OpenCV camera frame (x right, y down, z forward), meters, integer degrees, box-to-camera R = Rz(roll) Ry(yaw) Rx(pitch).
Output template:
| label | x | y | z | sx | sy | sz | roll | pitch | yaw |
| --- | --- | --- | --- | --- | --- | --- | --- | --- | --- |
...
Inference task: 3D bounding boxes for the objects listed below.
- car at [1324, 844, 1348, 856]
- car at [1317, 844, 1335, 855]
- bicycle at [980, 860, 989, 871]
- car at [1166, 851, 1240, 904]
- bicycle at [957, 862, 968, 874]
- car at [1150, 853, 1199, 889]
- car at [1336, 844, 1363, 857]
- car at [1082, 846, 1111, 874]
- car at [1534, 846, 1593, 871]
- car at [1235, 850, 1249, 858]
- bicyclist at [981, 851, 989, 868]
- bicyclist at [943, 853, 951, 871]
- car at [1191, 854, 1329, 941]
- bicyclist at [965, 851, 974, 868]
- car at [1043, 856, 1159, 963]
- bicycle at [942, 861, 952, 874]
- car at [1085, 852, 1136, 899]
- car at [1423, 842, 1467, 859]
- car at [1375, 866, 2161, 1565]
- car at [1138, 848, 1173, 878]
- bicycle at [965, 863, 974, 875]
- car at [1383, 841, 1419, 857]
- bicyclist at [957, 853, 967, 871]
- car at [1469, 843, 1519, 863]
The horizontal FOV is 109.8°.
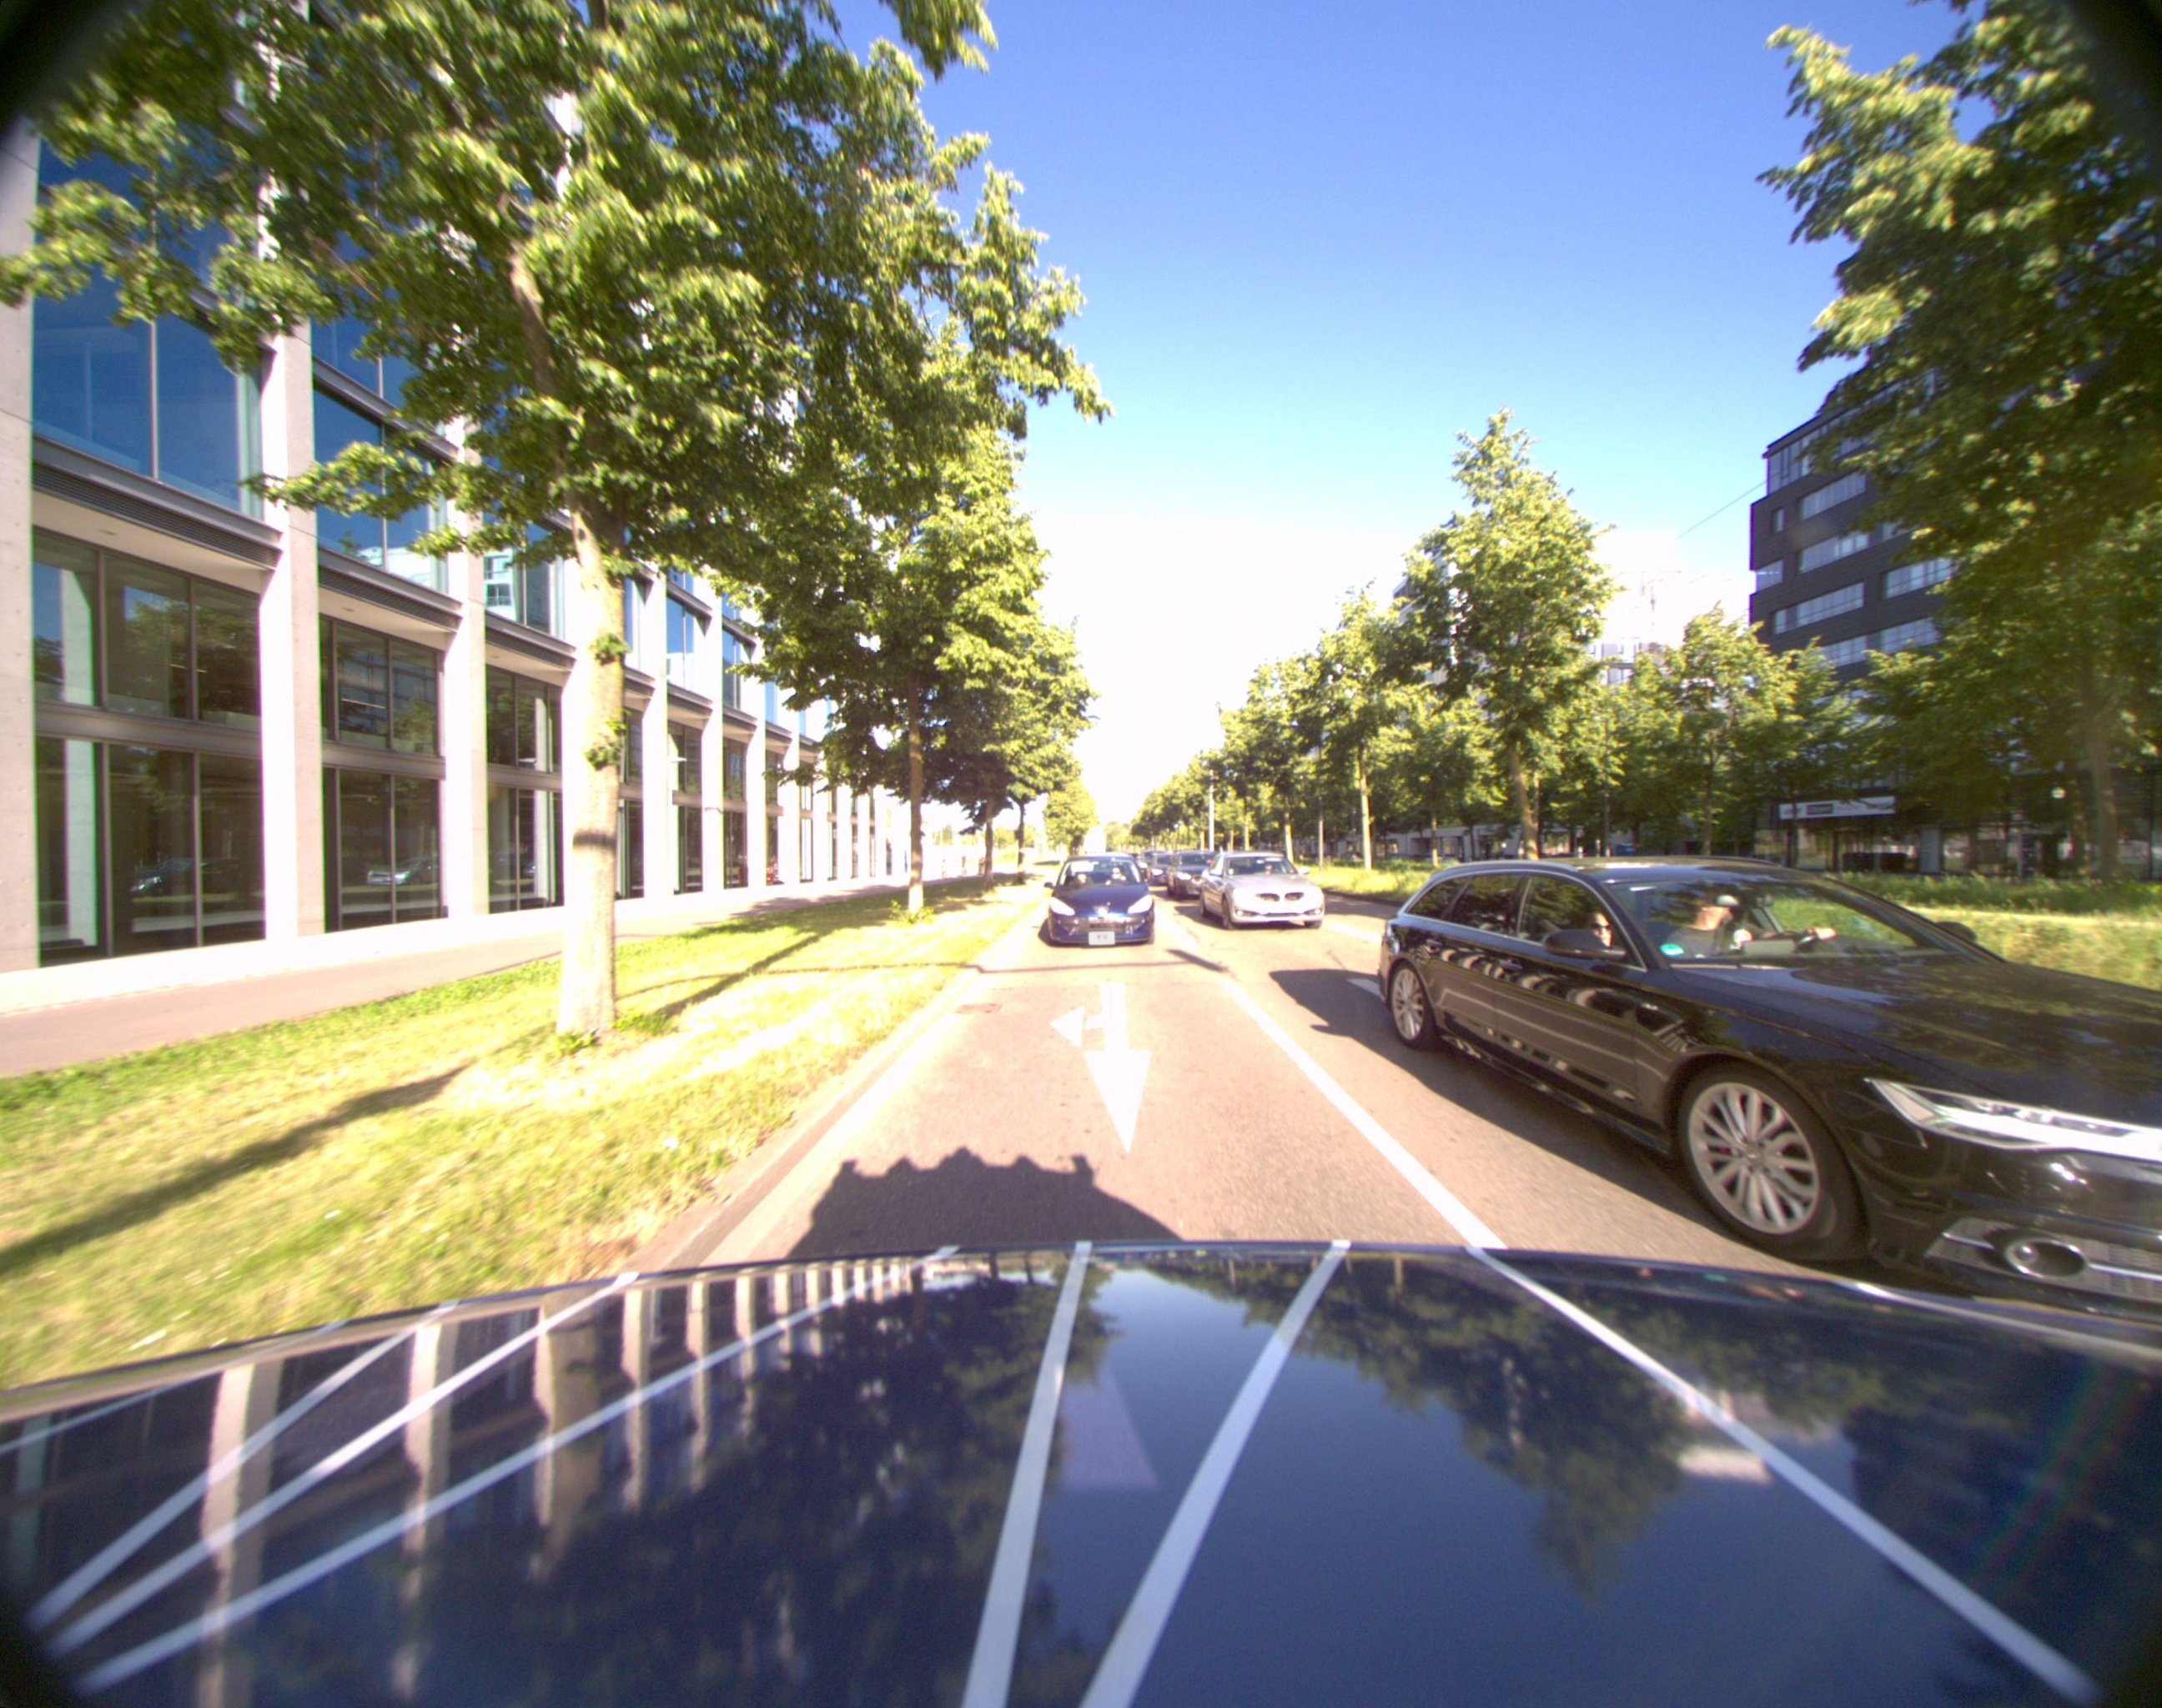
| label | x | y | z | sx | sy | sz | roll | pitch | yaw |
| --- | --- | --- | --- | --- | --- | --- | --- | --- | --- |
| car | 36.841 | -0.577 | 109.857 | 2.012 | 1.689 | 4.791 | 0 | 1 | 0 |
| car | 36.928 | -0.735 | 114.622 | 1.601 | 1.659 | 3.743 | 0 | 1 | 2 |
| bicycle | -7.443 | 0.871 | 58.839 | 0.464 | 0.813 | 1.344 | -1 | 1 | 2 |
| car | 3.786 | 0.681 | 24.151 | 1.812 | 1.514 | 4.028 | 0 | 1 | 2 |
| bicycle | -8.393 | 0.985 | 53.751 | 0.464 | 0.813 | 1.344 | -1 | 1 | 2 |
| car | 4.078 | 0.686 | 33.572 | 1.812 | 1.446 | 4.254 | 0 | 1 | 2 |
| car | 36.716 | -0.471 | 104.053 | 2.012 | 1.689 | 4.791 | 0 | 1 | 0 |
| car | 0.954 | 0.336 | 46.419 | 1.705 | 1.591 | 3.785 | 0 | 1 | 2 |
| car | 35.471 | 0.313 | 55.951 | 1.858 | 1.739 | 4.000 | 0 | 1 | 2 |
| car | 29.838 | -0.042 | 140.962 | 1.858 | 1.529 | 4.735 | 0 | 1 | 2 |
| bicyclist | -7.450 | 0.398 | 58.893 | 0.534 | 1.282 | 0.521 | -1 | 2 | 2 |
| bicyclist | -9.452 | 0.550 | 53.663 | 0.448 | 1.282 | 0.418 | -1 | 2 | 2 |
| car | 3.522 | 0.767 | 15.869 | 1.812 | 1.480 | 4.742 | 0 | 1 | 1 |
| bicyclist | -8.708 | 0.415 | 59.407 | 0.534 | 1.282 | 0.457 | -1 | 2 | 2 |
| car | 0.352 | 0.820 | 13.020 | 1.686 | 1.514 | 3.785 | -1 | 1 | 2 |
| bicycle | -9.439 | 0.945 | 53.607 | 0.415 | 0.813 | 1.320 | -1 | 1 | 2 |
| car | 0.998 | 0.676 | 26.402 | 1.612 | 1.463 | 4.395 | 0 | 1 | 2 |
| car | 36.442 | -0.368 | 76.215 | 2.012 | 1.689 | 4.790 | 0 | 1 | -2 |
| car | 3.314 | 0.864 | 3.981 | 1.812 | 1.448 | 4.507 | -1 | 1 | 0 |
| car | 4.236 | 0.489 | 43.924 | 1.812 | 1.581 | 4.165 | 0 | 1 | 3 |
| bicycle | -8.691 | 1.162 | 59.392 | 0.464 | 0.813 | 1.344 | -1 | 1 | 2 |
| car | 36.406 | -0.573 | 86.554 | 2.012 | 1.689 | 4.790 | 0 | 1 | -2 |
| bicyclist | -8.415 | 0.562 | 53.732 | 0.534 | 1.210 | 0.507 | -1 | 2 | 2 |
| car | 35.866 | -0.144 | 66.101 | 1.858 | 1.674 | 4.792 | 0 | 1 | 2 |
